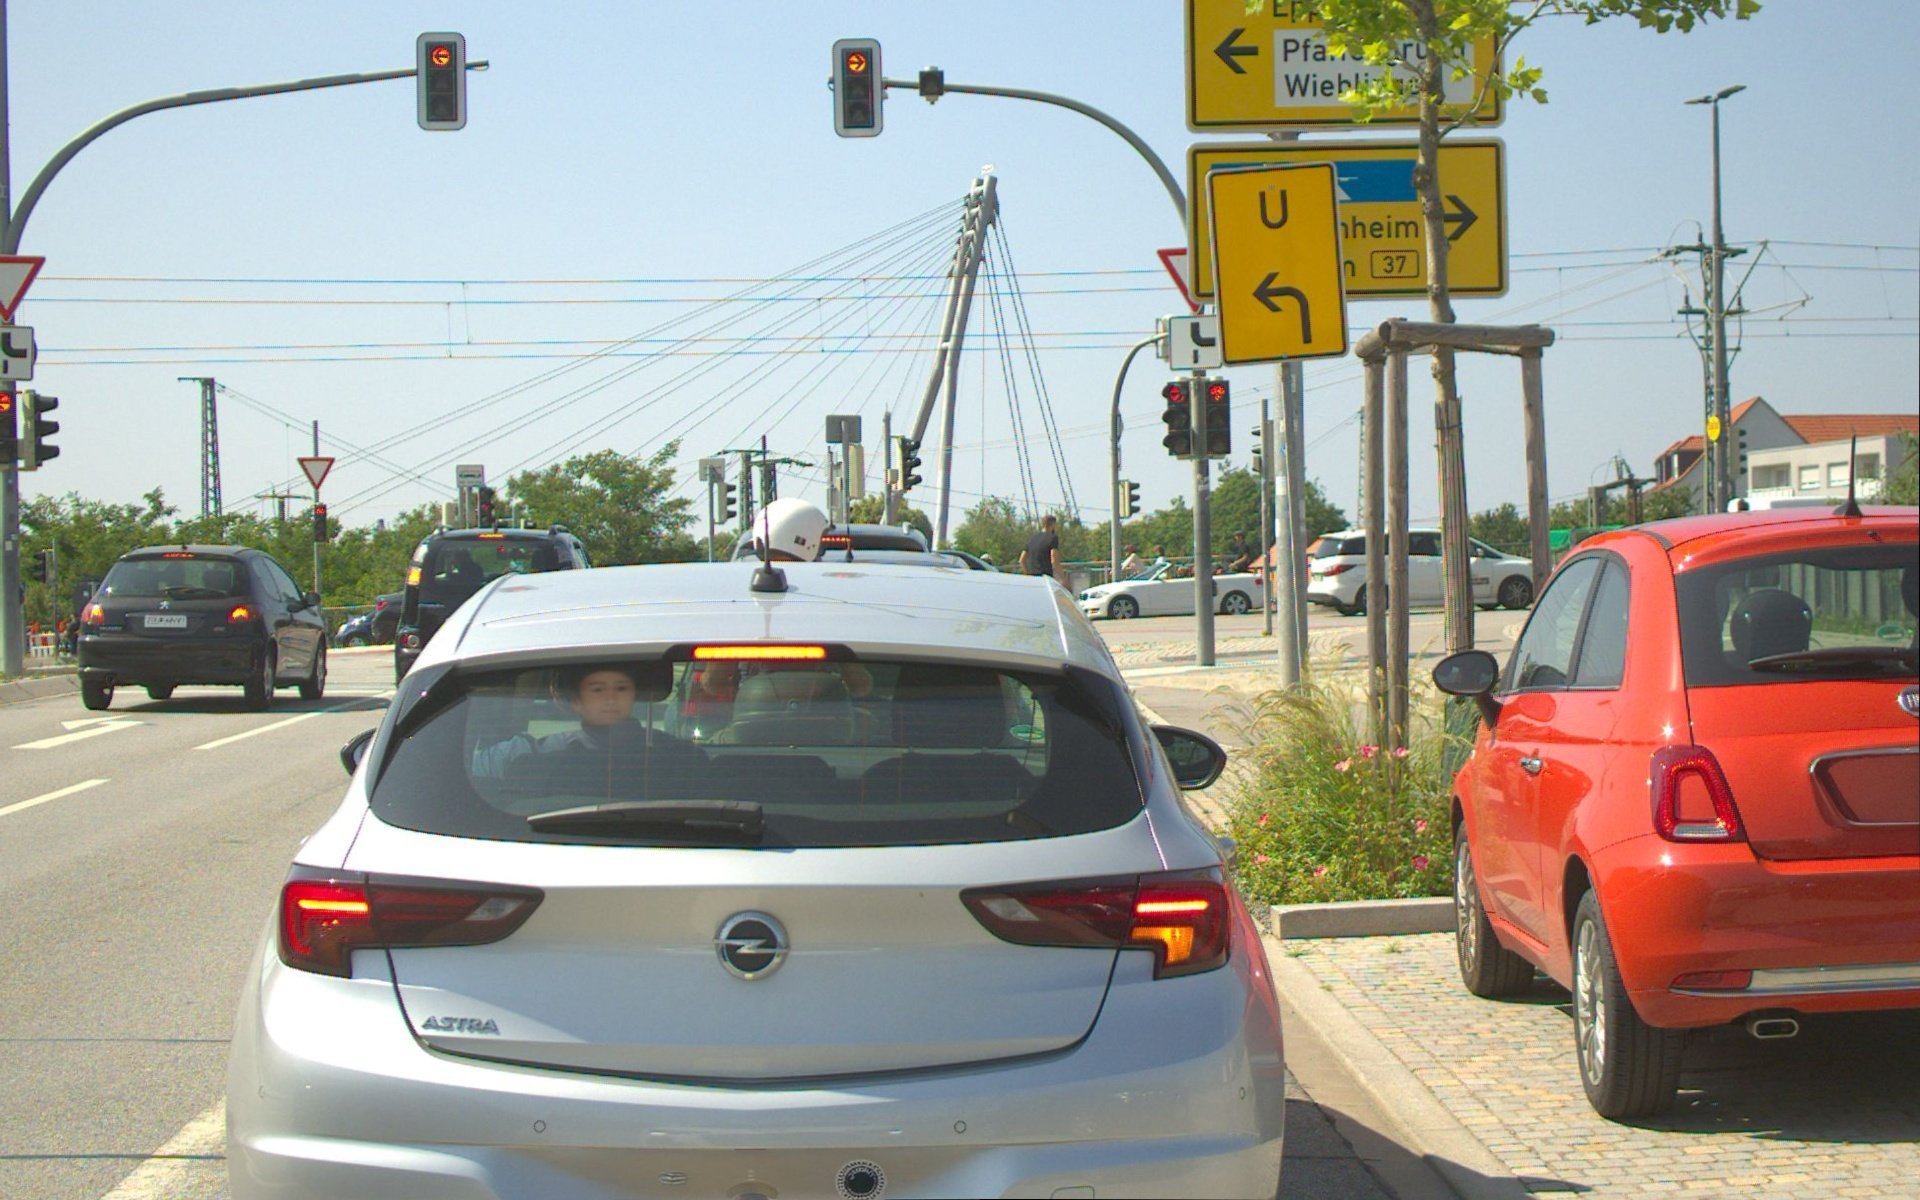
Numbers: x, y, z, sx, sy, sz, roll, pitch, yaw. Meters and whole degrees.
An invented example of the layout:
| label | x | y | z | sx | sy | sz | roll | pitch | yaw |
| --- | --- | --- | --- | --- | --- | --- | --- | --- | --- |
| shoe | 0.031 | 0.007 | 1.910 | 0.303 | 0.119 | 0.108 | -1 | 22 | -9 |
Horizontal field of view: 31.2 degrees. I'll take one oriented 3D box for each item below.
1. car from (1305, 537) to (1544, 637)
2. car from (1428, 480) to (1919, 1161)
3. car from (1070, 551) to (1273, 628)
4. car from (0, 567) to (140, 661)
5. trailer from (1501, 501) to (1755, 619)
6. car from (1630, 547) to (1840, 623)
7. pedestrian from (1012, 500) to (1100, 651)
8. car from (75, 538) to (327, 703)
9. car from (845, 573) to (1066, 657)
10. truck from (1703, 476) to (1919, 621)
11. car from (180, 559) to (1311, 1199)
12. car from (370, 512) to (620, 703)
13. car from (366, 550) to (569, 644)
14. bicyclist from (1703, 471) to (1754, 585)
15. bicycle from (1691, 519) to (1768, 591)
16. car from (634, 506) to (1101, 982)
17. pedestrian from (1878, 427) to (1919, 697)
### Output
| label | x | y | z | sx | sy | sz | roll | pitch | yaw |
| --- | --- | --- | --- | --- | --- | --- | --- | --- | --- |
| car | 8.649 | -0.242 | 64.218 | 3.986 | 1.778 | 2.000 | 1 | 0 | -10 |
| car | 2.406 | 0.457 | 10.035 | 1.669 | 1.534 | 3.917 | -2 | 2 | 3 |
| car | 4.756 | -0.227 | 77.551 | 4.194 | 1.639 | 1.834 | 1 | 0 | -12 |
| car | -16.829 | 0.229 | 61.685 | 3.815 | 1.623 | 1.857 | 1 | 0 | -3 |
| trailer | 12.001 | -0.706 | 61.874 | 3.986 | 2.007 | 2.001 | 1 | 0 | -15 |
| car | 17.685 | -0.337 | 78.470 | 4.244 | 1.668 | 2.001 | 0 | 0 | -18 |
| pedestrian | 1.192 | -0.302 | 42.749 | 0.740 | 1.857 | 0.753 | 1 | 0 | -45 |
| car | -6.774 | 0.171 | 30.961 | 1.587 | 1.390 | 3.340 | 0 | 0 | -1 |
| car | -0.102 | 0.261 | 59.984 | 3.774 | 1.385 | 1.666 | 1 | 0 | -2 |
| truck | 16.241 | -0.916 | 63.037 | 4.692 | 2.532 | 2.001 | 1 | 0 | -16 |
| car | -0.367 | 0.675 | 7.292 | 1.690 | 1.514 | 4.271 | 0 | 1 | -1 |
| car | -4.127 | 0.057 | 31.028 | 1.803 | 1.616 | 3.917 | 0 | 0 | -1 |
| car | -8.989 | -0.049 | 62.959 | 3.506 | 1.635 | 1.800 | 1 | 0 | -2 |
| bicyclist | 12.776 | -1.189 | 57.126 | 0.636 | 1.881 | 0.595 | 0 | 1 | 33 |
| bicycle | 12.804 | -0.744 | 57.181 | 0.555 | 1.174 | 2.084 | 0 | 1 | 33 |
| car | -0.372 | 0.513 | 14.177 | 1.634 | 1.668 | 3.745 | 1 | 0 | -1 |
| pedestrian | 6.831 | -0.250 | 23.646 | 0.758 | 1.823 | 0.885 | 1 | 0 | -1 |
